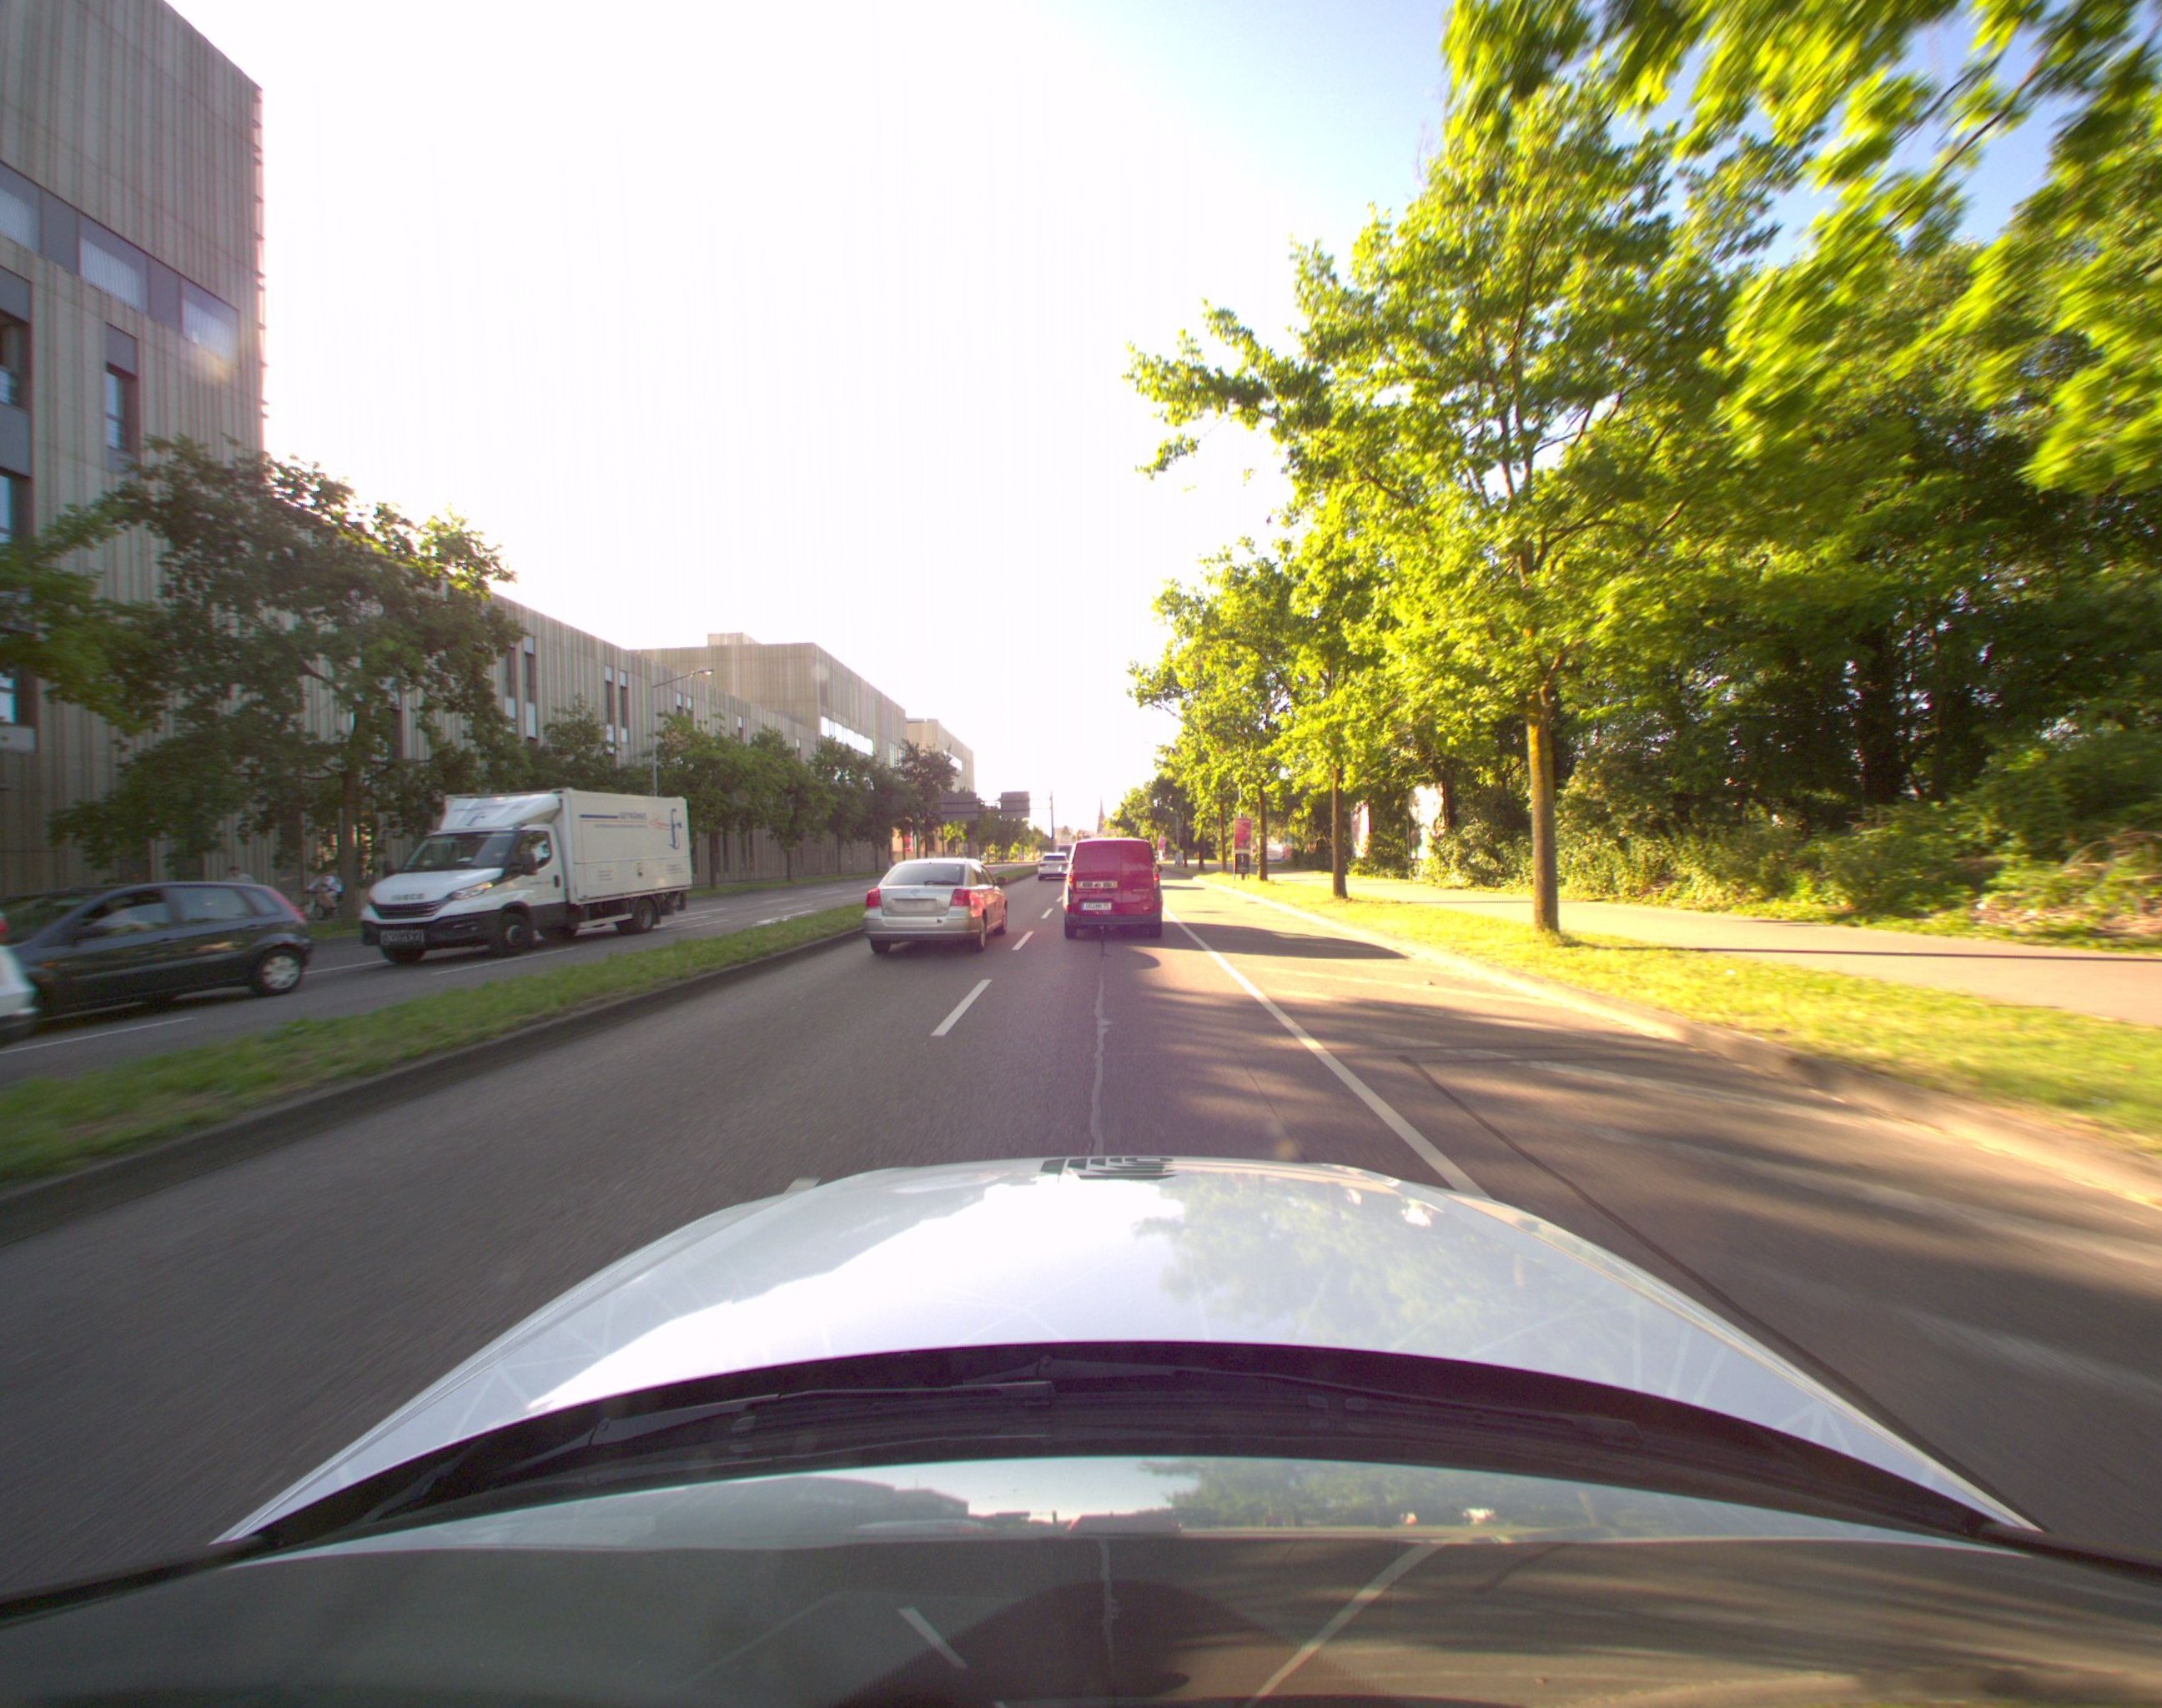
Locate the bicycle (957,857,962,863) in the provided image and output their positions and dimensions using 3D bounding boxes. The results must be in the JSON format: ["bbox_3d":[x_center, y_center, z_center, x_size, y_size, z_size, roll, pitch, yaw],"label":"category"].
[{"bbox_3d":[-21.232,0.989,142.276,0.485,1.003,2.096,-2,-1,0],"label":"bicycle"}]

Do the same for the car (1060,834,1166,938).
[{"bbox_3d":[0.589,0.551,15.939,1.800,1.759,4.007,0,0,1],"label":"car"}]

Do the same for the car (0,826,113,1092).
[{"bbox_3d":[-7.797,0.713,3.388,1.817,1.682,4.660,-4,0,1],"label":"car"}]

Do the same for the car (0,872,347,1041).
[{"bbox_3d":[-10.668,1.008,8.725,1.828,1.424,4.001,-3,0,1],"label":"car"}]

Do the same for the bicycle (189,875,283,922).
[{"bbox_3d":[-24.882,1.281,24.035,0.510,1.270,2.100,-2,0,1],"label":"bicycle"}]

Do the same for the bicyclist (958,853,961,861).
[{"bbox_3d":[-21.249,0.487,142.349,0.480,1.395,0.844,-2,-1,0],"label":"bicyclist"}]

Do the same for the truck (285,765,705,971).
[{"bbox_3d":[-10.518,0.210,15.872,2.676,2.960,7.118,-3,0,2],"label":"truck"}]

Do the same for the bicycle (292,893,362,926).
[{"bbox_3d":[-23.556,1.707,25.490,0.510,0.890,1.755,-2,0,1],"label":"bicycle"}]

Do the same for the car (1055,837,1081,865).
[{"bbox_3d":[-0.896,-0.181,57.668,1.655,1.856,3.559,-2,0,1],"label":"car"}]

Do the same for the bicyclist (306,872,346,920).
[{"bbox_3d":[-23.571,1.290,25.431,0.506,1.442,0.753,-2,0,1],"label":"bicyclist"}]

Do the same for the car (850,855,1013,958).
[{"bbox_3d":[-2.314,0.751,13.706,1.834,1.456,4.164,0,0,2],"label":"car"}]

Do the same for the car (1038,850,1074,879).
[{"bbox_3d":[-1.293,0.544,43.454,1.655,1.398,3.559,-2,0,1],"label":"car"}]

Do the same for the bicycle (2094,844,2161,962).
[{"bbox_3d":[10.200,0.447,7.002,0.514,1.072,1.935,-2,0,-1],"label":"bicycle"}]

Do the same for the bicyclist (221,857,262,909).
[{"bbox_3d":[-24.889,0.839,24.143,0.505,1.507,0.645,-2,0,1],"label":"bicyclist"}]
